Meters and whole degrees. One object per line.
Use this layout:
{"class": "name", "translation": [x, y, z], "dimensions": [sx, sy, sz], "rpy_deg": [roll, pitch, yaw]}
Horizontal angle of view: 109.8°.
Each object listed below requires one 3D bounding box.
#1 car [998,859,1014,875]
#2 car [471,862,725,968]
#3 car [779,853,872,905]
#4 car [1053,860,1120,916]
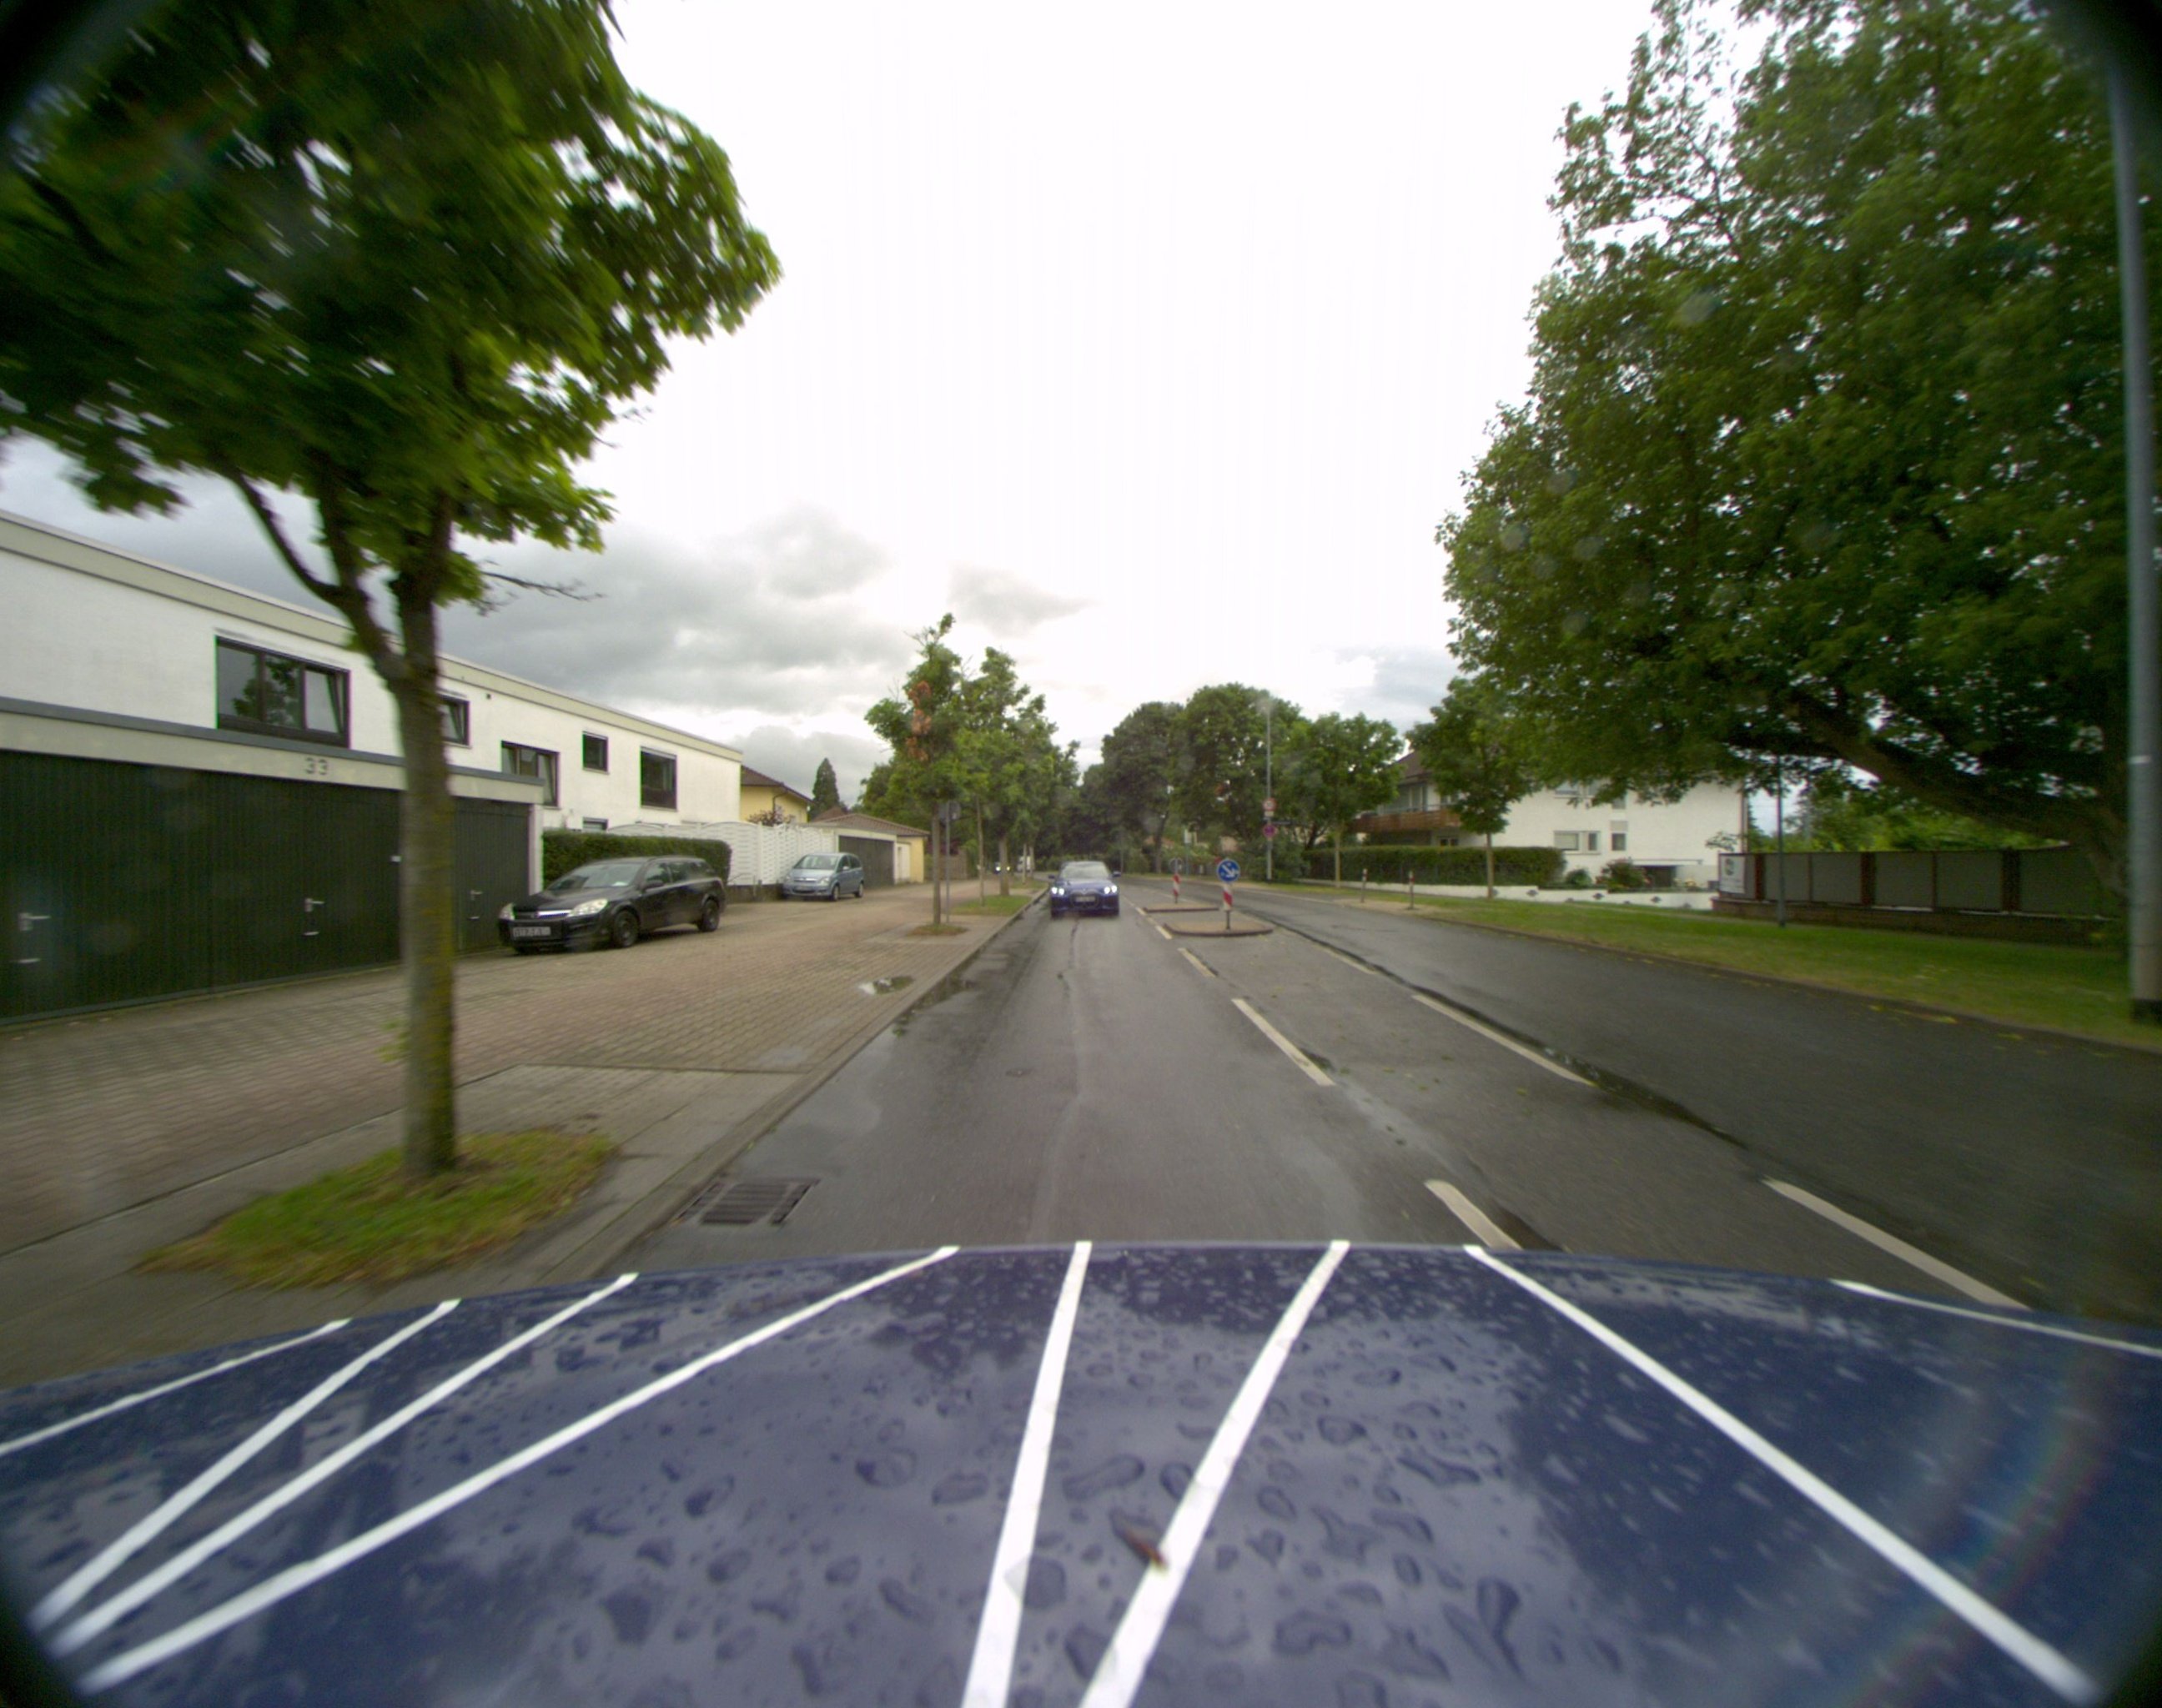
{"class": "car", "translation": [-10.195, 1.705, 103.077], "dimensions": [2.000, 2.002, 3.997], "rpy_deg": [-2, 1, -6]}
{"class": "car", "translation": [-7.869, 0.891, 12.909], "dimensions": [1.666, 1.414, 4.000], "rpy_deg": [-2, 0, 1]}
{"class": "car", "translation": [-8.600, 0.787, 25.898], "dimensions": [1.700, 1.553, 3.999], "rpy_deg": [-2, 1, 1]}
{"class": "car", "translation": [0.170, 0.950, 22.874], "dimensions": [1.815, 1.459, 3.975], "rpy_deg": [-1, 0, 1]}
